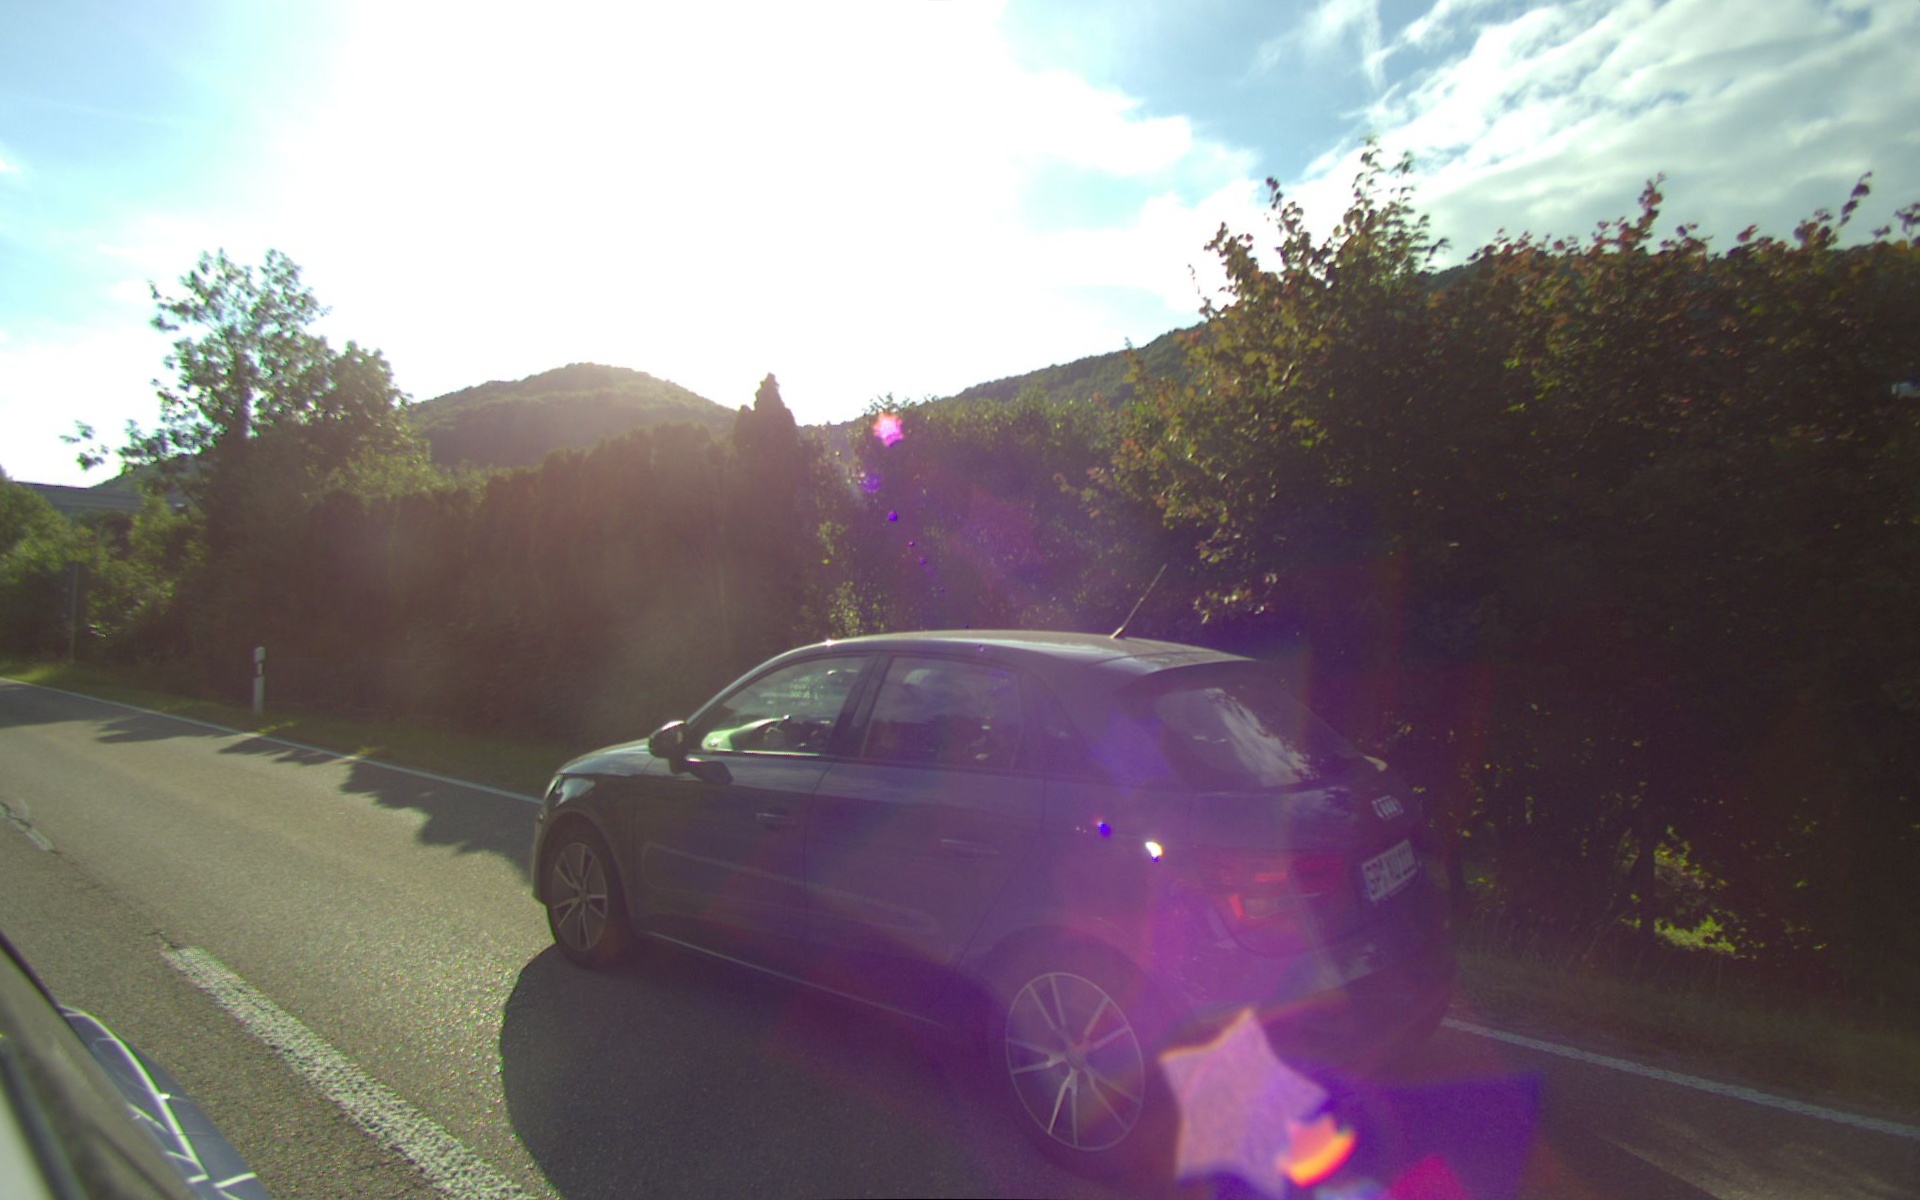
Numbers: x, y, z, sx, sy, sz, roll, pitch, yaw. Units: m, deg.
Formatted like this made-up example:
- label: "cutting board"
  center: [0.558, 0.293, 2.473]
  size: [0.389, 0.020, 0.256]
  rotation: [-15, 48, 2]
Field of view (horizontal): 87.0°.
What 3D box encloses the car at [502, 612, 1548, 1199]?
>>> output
- label: "car"
  center: [-0.046, 0.788, 3.890]
  size: [3.786, 1.426, 1.611]
  rotation: [-1, -3, 40]
